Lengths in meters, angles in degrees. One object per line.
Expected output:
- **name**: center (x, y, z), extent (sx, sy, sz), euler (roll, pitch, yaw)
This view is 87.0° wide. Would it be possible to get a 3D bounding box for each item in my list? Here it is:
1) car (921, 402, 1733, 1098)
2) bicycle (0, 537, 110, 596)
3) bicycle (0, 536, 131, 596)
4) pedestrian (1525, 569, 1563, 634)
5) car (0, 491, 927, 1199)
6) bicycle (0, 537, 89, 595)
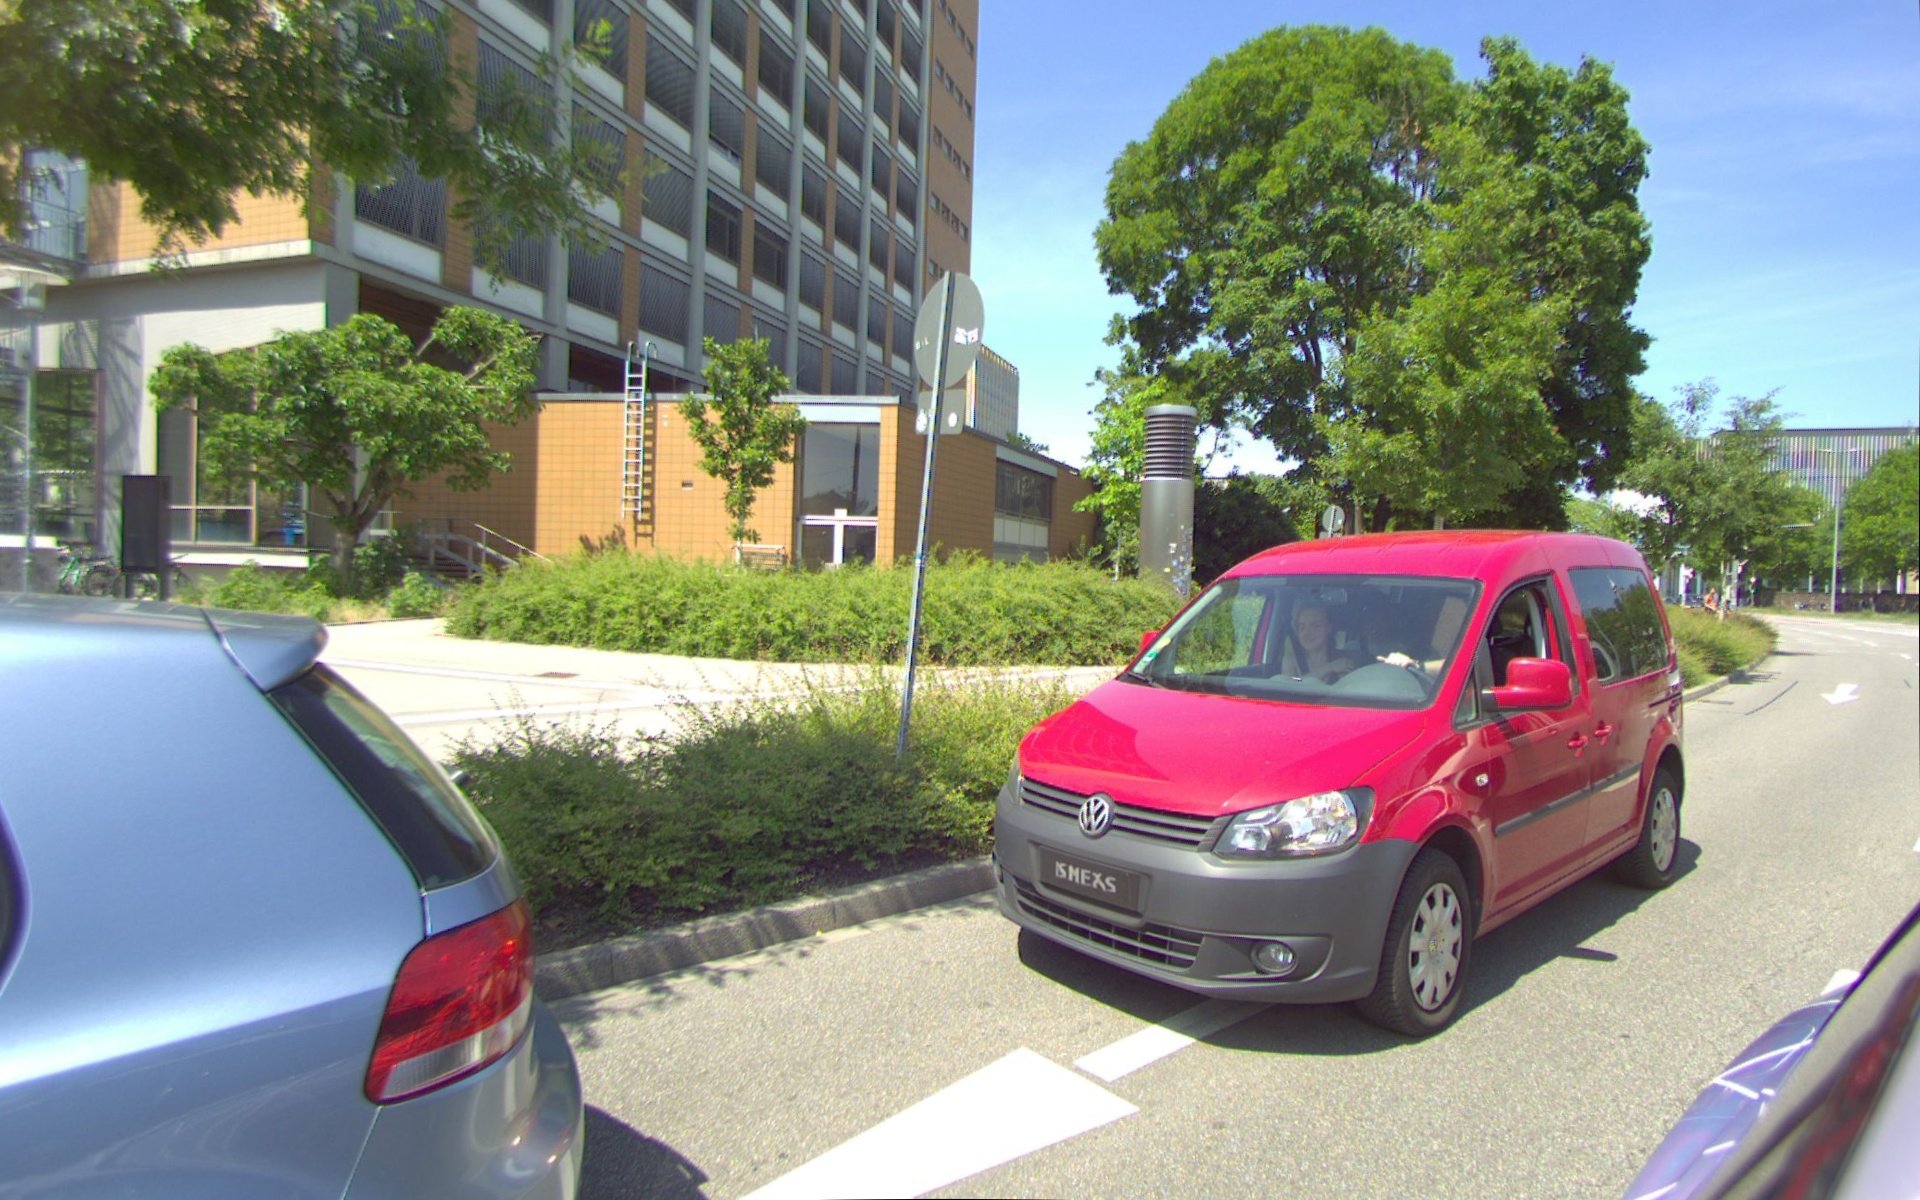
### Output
- **car**: center (2.079, 0.395, 4.828), extent (4.465, 1.882, 1.654), euler (0, 1, -41)
- **bicycle**: center (-19.963, -0.711, 22.028), extent (0.630, 1.233, 2.202), euler (0, 0, 22)
- **bicycle**: center (-19.218, -0.706, 21.695), extent (0.630, 1.233, 2.202), euler (0, 0, 22)
- **pedestrian**: center (16.547, 0.032, 28.660), extent (0.603, 1.820, 0.728), euler (1, 1, -40)
- **car**: center (-2.073, 0.618, 1.146), extent (3.934, 1.477, 1.654), euler (0, 0, -42)
- **bicycle**: center (-20.675, -0.737, 22.303), extent (0.630, 1.233, 2.201), euler (0, 0, 22)
